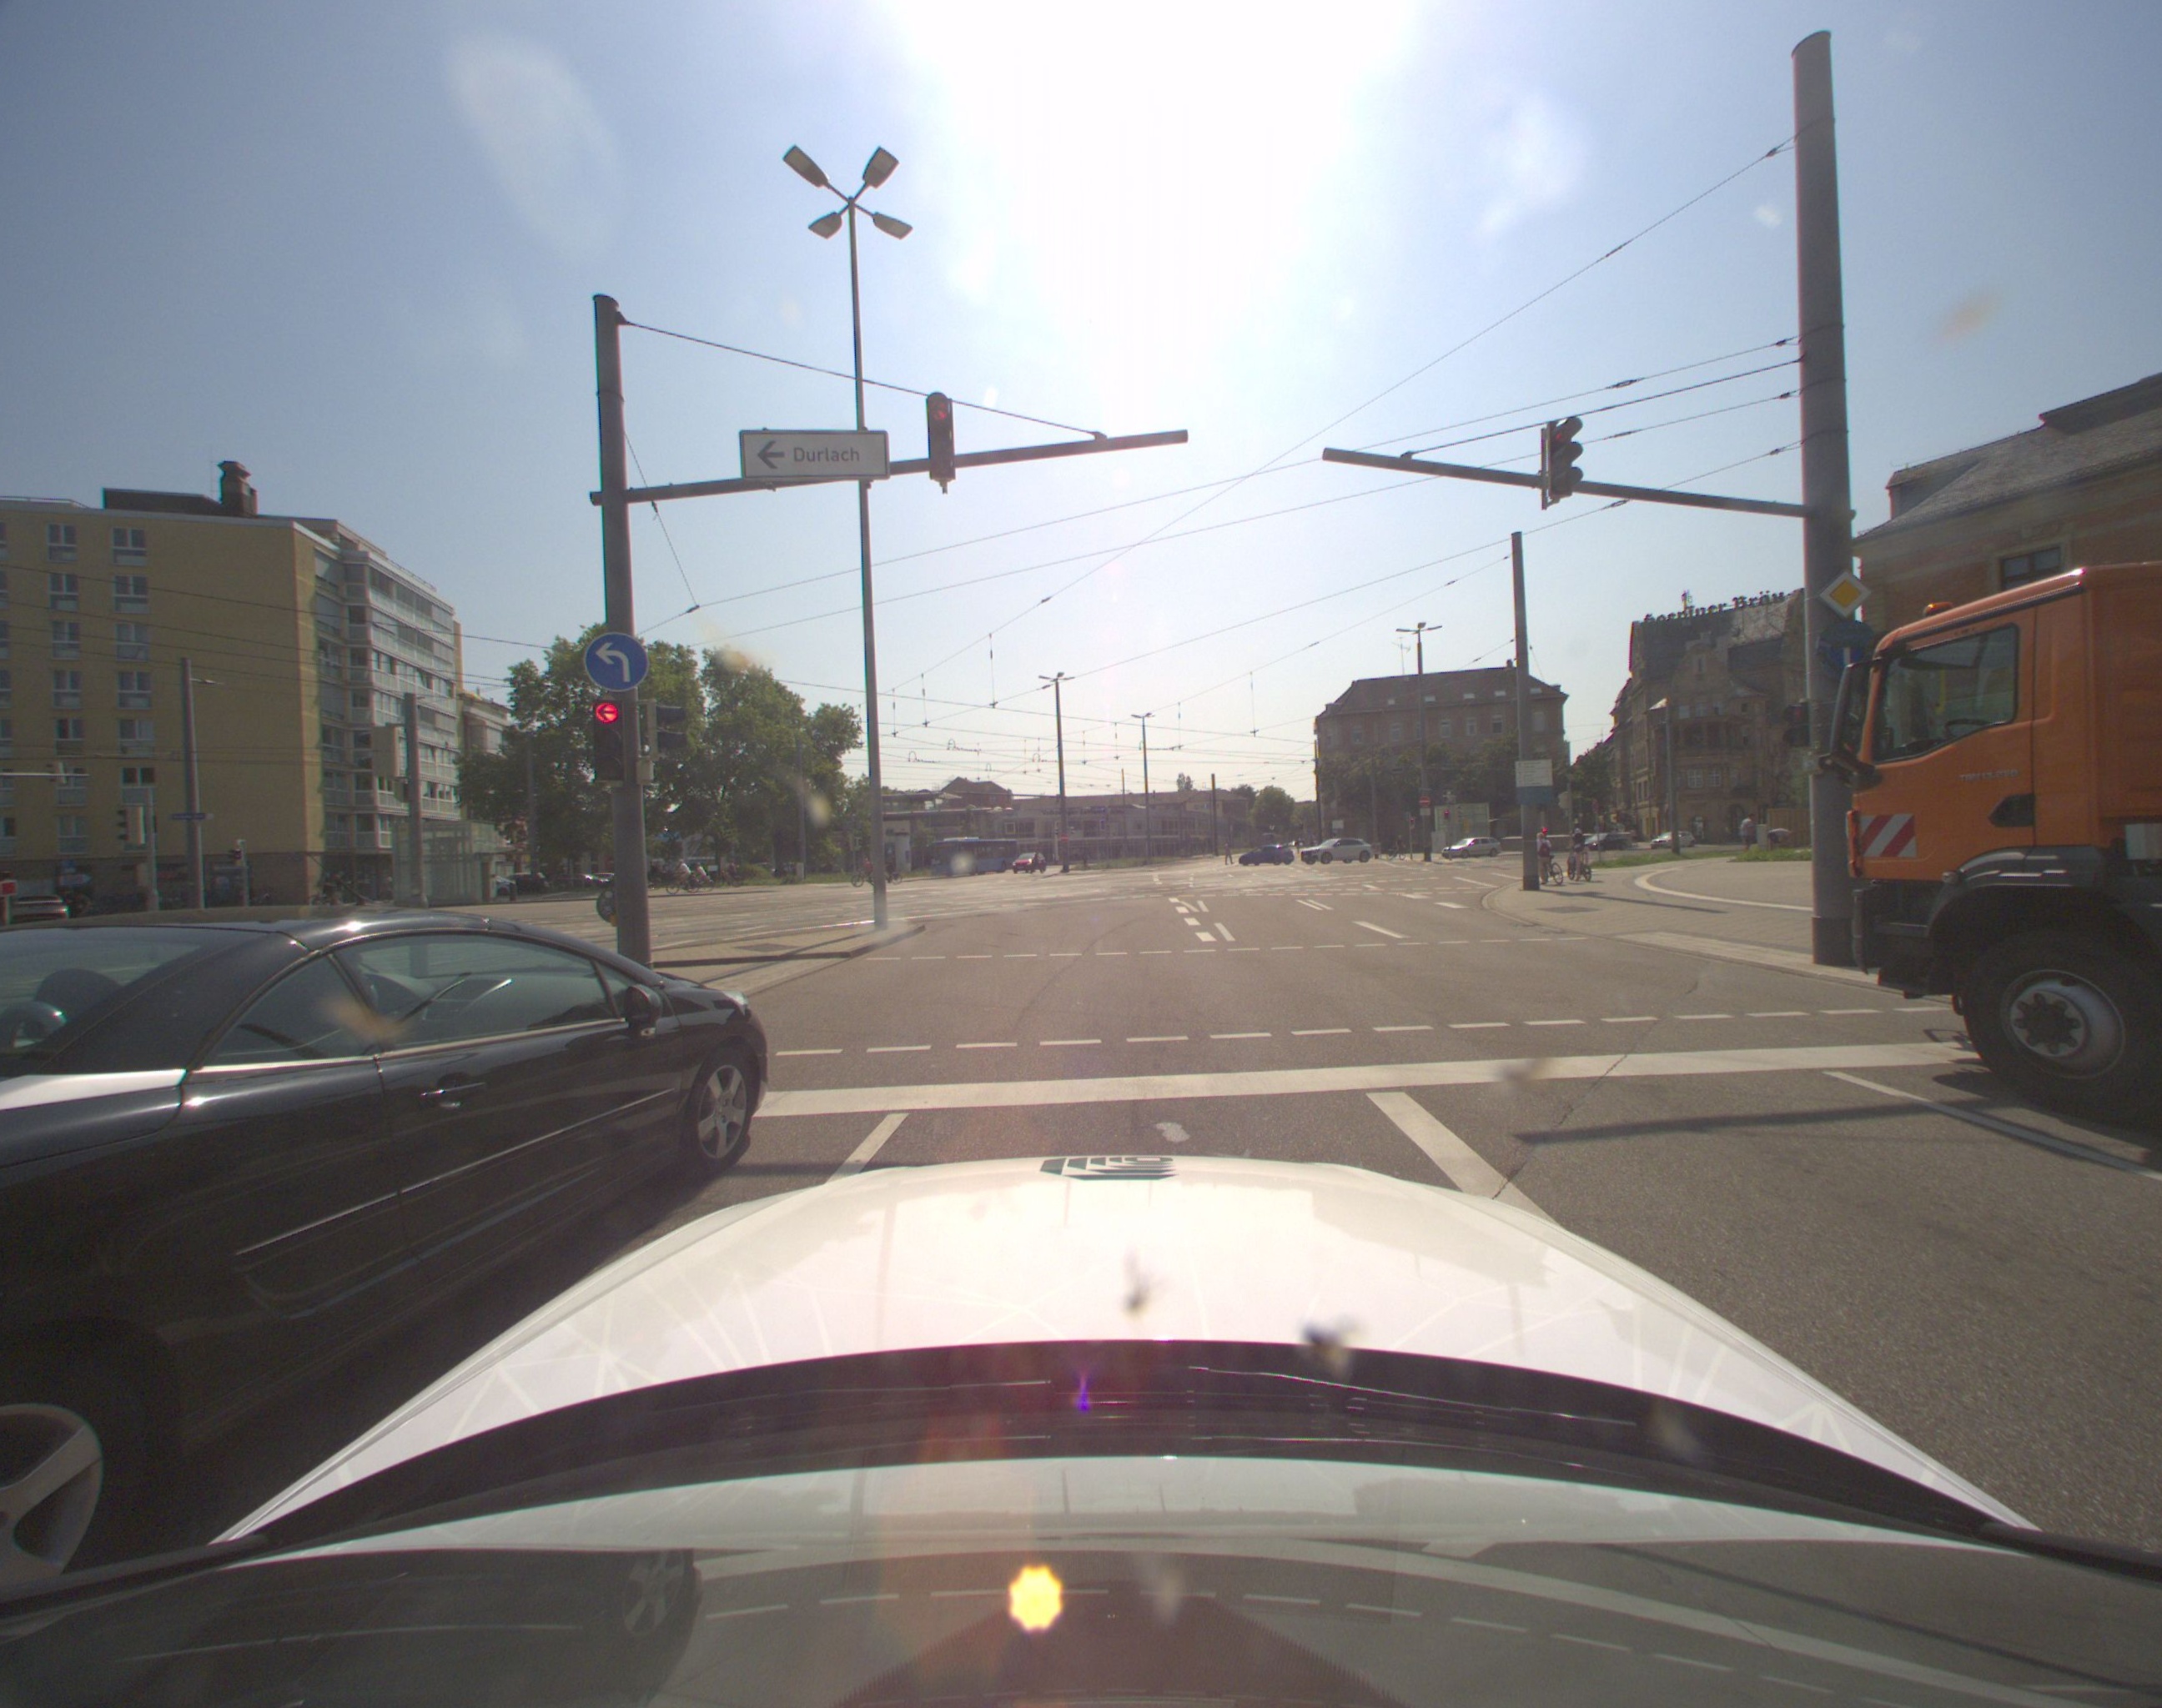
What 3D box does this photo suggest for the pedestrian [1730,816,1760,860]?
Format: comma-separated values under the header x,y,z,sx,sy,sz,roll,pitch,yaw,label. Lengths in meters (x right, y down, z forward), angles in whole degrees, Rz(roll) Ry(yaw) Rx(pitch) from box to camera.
x,y,z,sx,sy,sz,roll,pitch,yaw,label
26.777,-0.633,32.850,0.549,1.724,0.812,-2,0,-39,pedestrian

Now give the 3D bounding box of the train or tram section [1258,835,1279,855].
x,y,z,sx,sy,sz,roll,pitch,yaw,label
36.662,-1.773,159.050,2.566,3.516,10.954,-2,0,20,train or tram section

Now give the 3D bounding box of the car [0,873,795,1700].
x,y,z,sx,sy,sz,roll,pitch,yaw,label
-2.682,0.818,2.772,1.757,1.388,3.787,-1,0,5,car

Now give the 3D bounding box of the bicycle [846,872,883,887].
x,y,z,sx,sy,sz,roll,pitch,yaw,label
-13.022,1.521,48.991,2.049,0.802,0.478,-2,0,-11,bicycle

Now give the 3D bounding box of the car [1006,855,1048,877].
x,y,z,sx,sy,sz,roll,pitch,yaw,label
-4.270,0.931,64.991,1.735,1.552,4.020,-3,0,20,car

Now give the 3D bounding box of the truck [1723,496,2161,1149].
x,y,z,sx,sy,sz,roll,pitch,yaw,label
6.390,-0.159,3.294,2.481,3.134,6.868,-1,0,4,truck

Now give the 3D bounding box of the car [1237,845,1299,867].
x,y,z,sx,sy,sz,roll,pitch,yaw,label
13.370,0.123,58.182,3.948,1.394,1.606,-3,0,34,car

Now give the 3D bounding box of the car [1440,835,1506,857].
x,y,z,sx,sy,sz,roll,pitch,yaw,label
27.797,-0.573,57.731,4.190,1.415,1.764,-2,0,-20,car

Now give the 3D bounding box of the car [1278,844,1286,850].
x,y,z,sx,sy,sz,roll,pitch,yaw,label
55.473,-1.943,224.886,1.804,1.809,4.019,-1,-1,19,car

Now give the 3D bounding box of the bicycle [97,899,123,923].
x,y,z,sx,sy,sz,roll,pitch,yaw,label
-53.228,3.124,44.628,2.754,1.204,0.699,-3,0,36,bicycle

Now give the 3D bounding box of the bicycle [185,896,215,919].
x,y,z,sx,sy,sz,roll,pitch,yaw,label
-49.417,3.002,45.675,3.220,1.204,0.699,-3,0,36,bicycle

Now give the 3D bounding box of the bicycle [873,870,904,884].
x,y,z,sx,sy,sz,roll,pitch,yaw,label
-12.393,1.479,52.382,1.860,0.802,0.604,-2,0,-17,bicycle

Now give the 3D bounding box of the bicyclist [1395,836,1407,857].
x,y,z,sx,sy,sz,roll,pitch,yaw,label
24.052,-0.581,61.265,0.614,1.528,0.517,-2,0,-23,bicyclist

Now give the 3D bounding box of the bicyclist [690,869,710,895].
x,y,z,sx,sy,sz,roll,pitch,yaw,label
-23.218,1.695,49.587,0.907,1.508,0.559,-2,0,-2,bicyclist

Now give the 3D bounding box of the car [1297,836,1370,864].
x,y,z,sx,sy,sz,roll,pitch,yaw,label
16.492,-0.262,53.216,4.335,1.618,1.743,-2,0,-19,car

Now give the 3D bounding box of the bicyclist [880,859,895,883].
x,y,z,sx,sy,sz,roll,pitch,yaw,label
-12.433,1.082,52.362,0.873,1.475,0.543,-2,0,-16,bicyclist

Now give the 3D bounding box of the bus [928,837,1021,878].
x,y,z,sx,sy,sz,roll,pitch,yaw,label
-8.594,0.188,68.213,2.541,3.082,12.081,-3,0,19,bus

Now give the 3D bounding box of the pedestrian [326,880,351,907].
x,y,z,sx,sy,sz,roll,pitch,yaw,label
-44.180,2.320,48.462,0.861,1.543,0.736,-2,0,-28,pedestrian

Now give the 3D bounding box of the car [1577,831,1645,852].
x,y,z,sx,sy,sz,roll,pitch,yaw,label
40.918,-0.955,62.906,4.767,1.415,1.765,-2,0,-18,car

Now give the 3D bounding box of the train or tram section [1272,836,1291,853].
x,y,z,sx,sy,sz,roll,pitch,yaw,label
44.288,-2.065,179.477,2.566,3.516,13.039,-2,0,20,train or tram section

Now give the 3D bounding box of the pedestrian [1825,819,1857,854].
x,y,z,sx,sy,sz,roll,pitch,yaw,label
31.535,-0.737,33.790,0.768,1.399,0.687,-2,0,-24,pedestrian

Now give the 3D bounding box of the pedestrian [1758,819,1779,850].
x,y,z,sx,sy,sz,roll,pitch,yaw,label
36.070,-1.032,42.732,0.794,1.575,0.729,-2,0,-44,pedestrian

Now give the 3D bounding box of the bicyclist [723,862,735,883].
x,y,z,sx,sy,sz,roll,pitch,yaw,label
-23.049,1.215,53.376,0.544,1.293,0.557,-2,0,-10,bicyclist

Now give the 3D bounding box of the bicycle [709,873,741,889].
x,y,z,sx,sy,sz,roll,pitch,yaw,label
-23.333,1.779,53.392,1.815,0.942,0.414,-2,0,-11,bicycle

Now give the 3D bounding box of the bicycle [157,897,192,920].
x,y,z,sx,sy,sz,roll,pitch,yaw,label
-50.509,3.021,45.362,3.220,1.204,0.916,-3,0,36,bicycle

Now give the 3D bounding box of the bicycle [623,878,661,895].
x,y,z,sx,sy,sz,roll,pitch,yaw,label
-27.845,2.039,51.673,2.033,0.942,0.466,-2,0,-11,bicycle

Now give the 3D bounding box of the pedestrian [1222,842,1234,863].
x,y,z,sx,sy,sz,roll,pitch,yaw,label
11.627,-0.095,64.458,0.699,1.603,0.572,-2,0,-6,pedestrian

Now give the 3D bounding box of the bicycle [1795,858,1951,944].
x,y,z,sx,sy,sz,roll,pitch,yaw,label
10.803,0.602,11.201,0.489,1.055,1.826,-2,0,6,bicycle

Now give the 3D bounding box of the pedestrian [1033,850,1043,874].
x,y,z,sx,sy,sz,roll,pitch,yaw,label
-3.111,0.573,58.983,0.554,1.684,0.451,-2,0,-17,pedestrian

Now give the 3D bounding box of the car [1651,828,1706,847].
x,y,z,sx,sy,sz,roll,pitch,yaw,label
49.762,-1.372,67.822,4.207,1.415,1.762,-2,0,-24,car

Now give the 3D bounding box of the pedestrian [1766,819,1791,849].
x,y,z,sx,sy,sz,roll,pitch,yaw,label
28.902,-0.841,33.736,0.658,1.214,0.531,-2,0,30,pedestrian

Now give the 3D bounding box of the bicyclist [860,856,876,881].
x,y,z,sx,sy,sz,roll,pitch,yaw,label
-12.823,0.861,49.020,0.871,1.483,0.495,-2,0,-11,bicyclist

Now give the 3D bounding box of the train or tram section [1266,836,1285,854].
x,y,z,sx,sy,sz,roll,pitch,yaw,label
40.321,-1.935,168.767,2.566,3.516,9.708,-2,0,20,train or tram section

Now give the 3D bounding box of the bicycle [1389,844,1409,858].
x,y,z,sx,sy,sz,roll,pitch,yaw,label
23.993,-0.220,61.439,0.470,1.055,1.643,-2,0,-19,bicycle

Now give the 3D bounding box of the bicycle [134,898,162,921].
x,y,z,sx,sy,sz,roll,pitch,yaw,label
-51.736,3.084,45.157,3.220,1.204,0.699,-3,0,36,bicycle

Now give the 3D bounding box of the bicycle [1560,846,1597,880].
x,y,z,sx,sy,sz,roll,pitch,yaw,label
16.068,0.269,26.344,0.532,1.055,1.660,-2,0,14,bicycle

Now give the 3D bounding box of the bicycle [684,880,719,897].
x,y,z,sx,sy,sz,roll,pitch,yaw,label
-23.111,2.091,49.575,1.809,0.942,0.567,-2,0,-2,bicycle

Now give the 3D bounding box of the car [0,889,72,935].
x,y,z,sx,sy,sz,roll,pitch,yaw,label
-48.570,2.638,37.877,3.949,1.925,1.815,-3,0,42,car

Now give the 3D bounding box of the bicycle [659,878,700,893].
x,y,z,sx,sy,sz,roll,pitch,yaw,label
-23.330,1.822,47.301,2.049,0.802,0.478,-2,0,-11,bicycle

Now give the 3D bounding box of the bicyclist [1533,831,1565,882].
x,y,z,sx,sy,sz,roll,pitch,yaw,label
14.435,0.066,25.123,0.623,1.517,0.714,-2,0,14,bicyclist

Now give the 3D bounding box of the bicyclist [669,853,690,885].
x,y,z,sx,sy,sz,roll,pitch,yaw,label
-23.322,0.876,47.294,0.924,1.808,0.495,-2,0,-11,bicyclist

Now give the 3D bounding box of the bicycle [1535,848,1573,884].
x,y,z,sx,sy,sz,roll,pitch,yaw,label
14.429,0.352,24.882,0.532,1.055,1.660,-2,0,14,bicycle

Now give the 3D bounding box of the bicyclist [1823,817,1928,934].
x,y,z,sx,sy,sz,roll,pitch,yaw,label
10.759,0.287,11.057,0.730,1.517,0.664,-2,0,6,bicyclist

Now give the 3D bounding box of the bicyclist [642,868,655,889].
x,y,z,sx,sy,sz,roll,pitch,yaw,label
-27.466,1.523,51.683,0.544,1.293,0.557,-2,0,-10,bicyclist

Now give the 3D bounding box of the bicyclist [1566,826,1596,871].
x,y,z,sx,sy,sz,roll,pitch,yaw,label
15.947,-0.184,25.977,0.526,1.393,0.897,-2,0,14,bicyclist
